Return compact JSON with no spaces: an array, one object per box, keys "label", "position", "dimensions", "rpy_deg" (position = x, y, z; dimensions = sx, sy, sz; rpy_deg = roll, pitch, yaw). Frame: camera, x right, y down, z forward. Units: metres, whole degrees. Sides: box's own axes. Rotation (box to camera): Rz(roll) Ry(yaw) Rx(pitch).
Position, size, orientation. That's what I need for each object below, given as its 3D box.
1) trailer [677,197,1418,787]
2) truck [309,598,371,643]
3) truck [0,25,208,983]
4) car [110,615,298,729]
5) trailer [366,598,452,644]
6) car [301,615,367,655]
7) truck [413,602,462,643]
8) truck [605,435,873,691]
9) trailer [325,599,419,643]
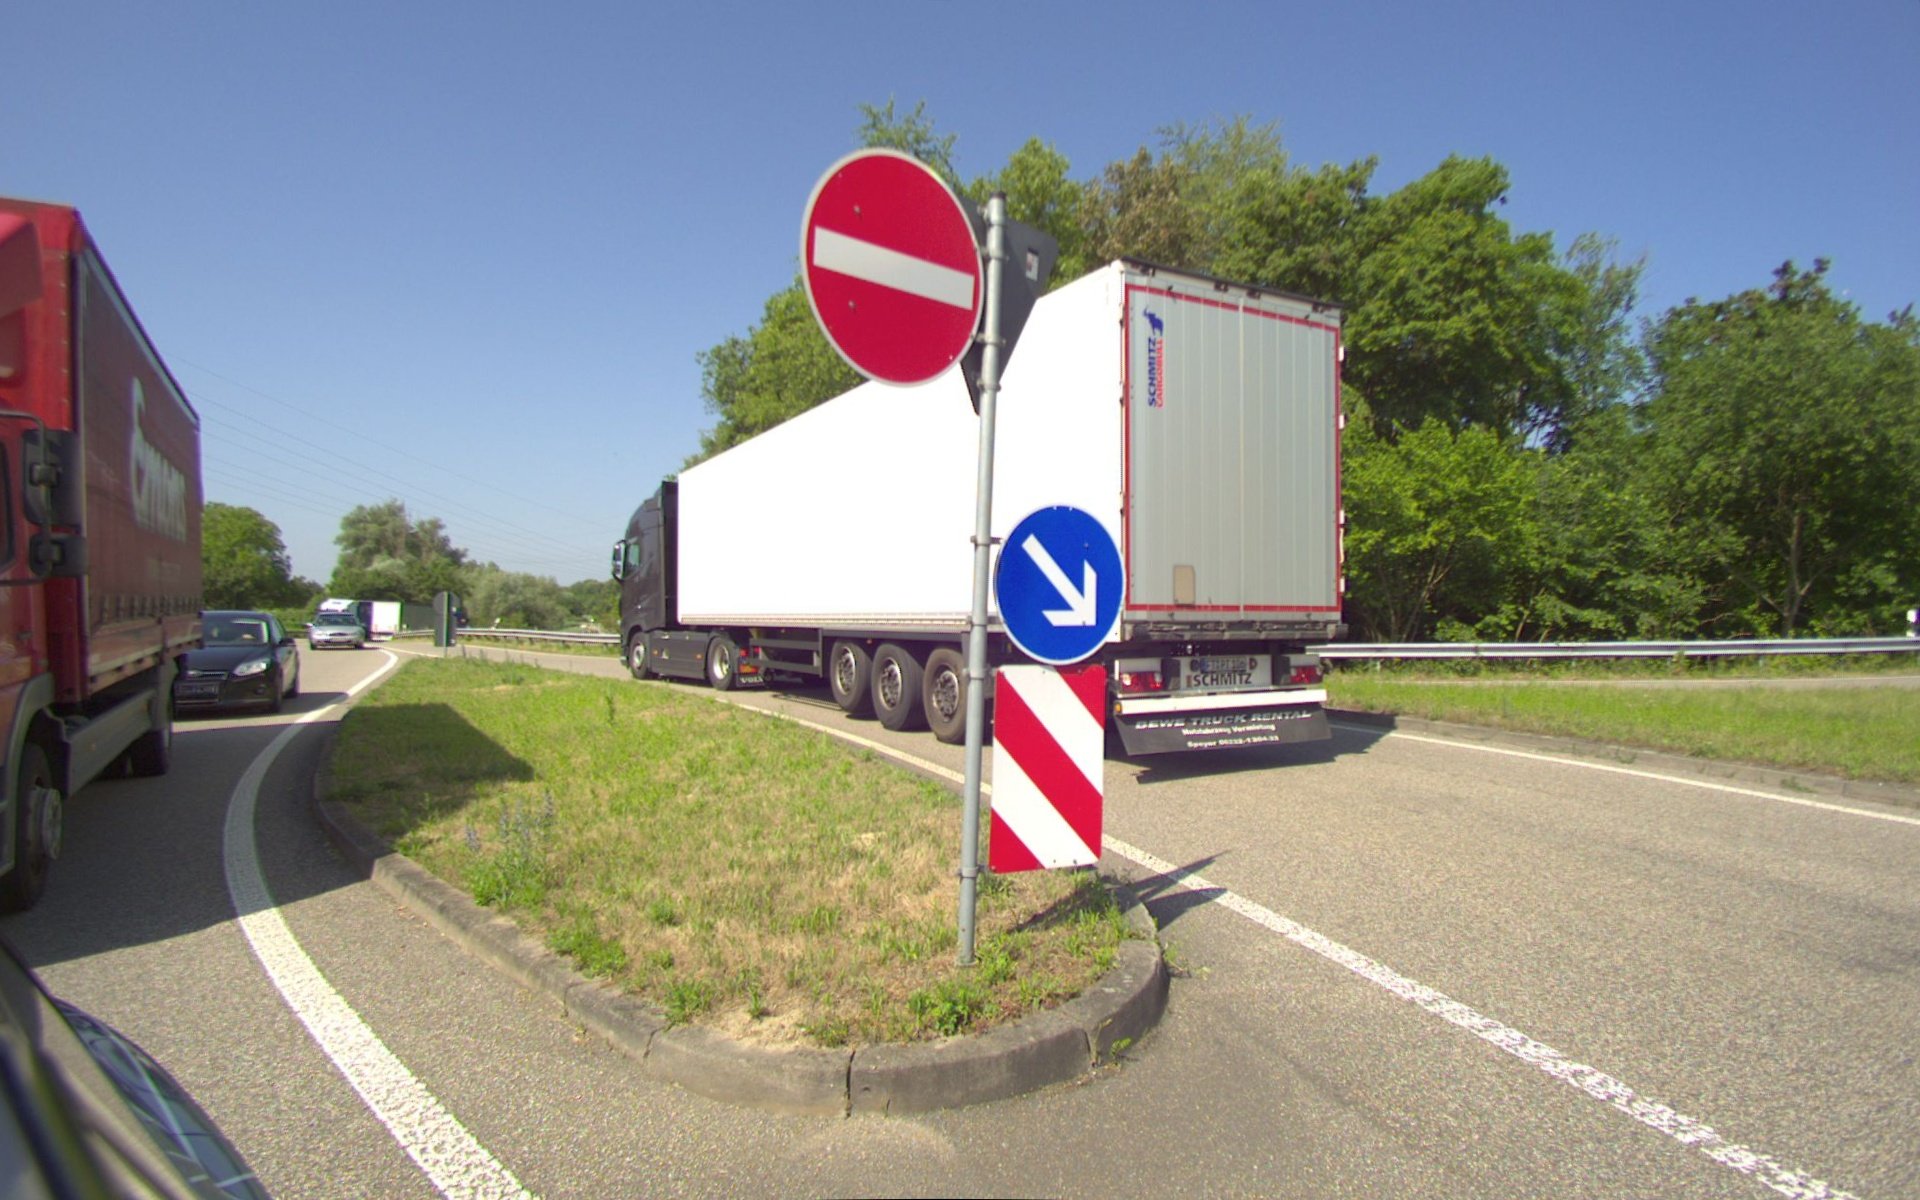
[{"label":"trailer","position":[-0.793,-0.677,14.017],"dimensions":[2.847,4.197,14.024],"rpy_deg":[0,-1,-29]},{"label":"truck","position":[-61.120,2.025,99.950],"dimensions":[2.895,4.270,5.740],"rpy_deg":[1,-2,-6]},{"label":"truck","position":[-7.288,-0.314,7.088],"dimensions":[2.646,3.689,9.288],"rpy_deg":[0,-1,-33]},{"label":"car","position":[-10.981,0.948,14.969],"dimensions":[1.758,1.425,4.012],"rpy_deg":[0,-1,-30]},{"label":"trailer","position":[-56.068,2.257,103.599],"dimensions":[2.913,4.300,14.005],"rpy_deg":[2,-2,-8]},{"label":"car","position":[-23.620,1.283,38.141],"dimensions":[1.759,1.396,4.388],"rpy_deg":[0,-1,-36]},{"label":"truck","position":[-56.886,2.480,110.423],"dimensions":[2.894,4.279,5.742],"rpy_deg":[1,-2,-8]},{"label":"truck","position":[-4.550,-0.578,19.905],"dimensions":[2.833,4.205,5.983],"rpy_deg":[-1,-1,-37]},{"label":"trailer","position":[-61.920,2.279,107.134],"dimensions":[2.886,4.272,13.997],"rpy_deg":[1,-2,-6]}]
